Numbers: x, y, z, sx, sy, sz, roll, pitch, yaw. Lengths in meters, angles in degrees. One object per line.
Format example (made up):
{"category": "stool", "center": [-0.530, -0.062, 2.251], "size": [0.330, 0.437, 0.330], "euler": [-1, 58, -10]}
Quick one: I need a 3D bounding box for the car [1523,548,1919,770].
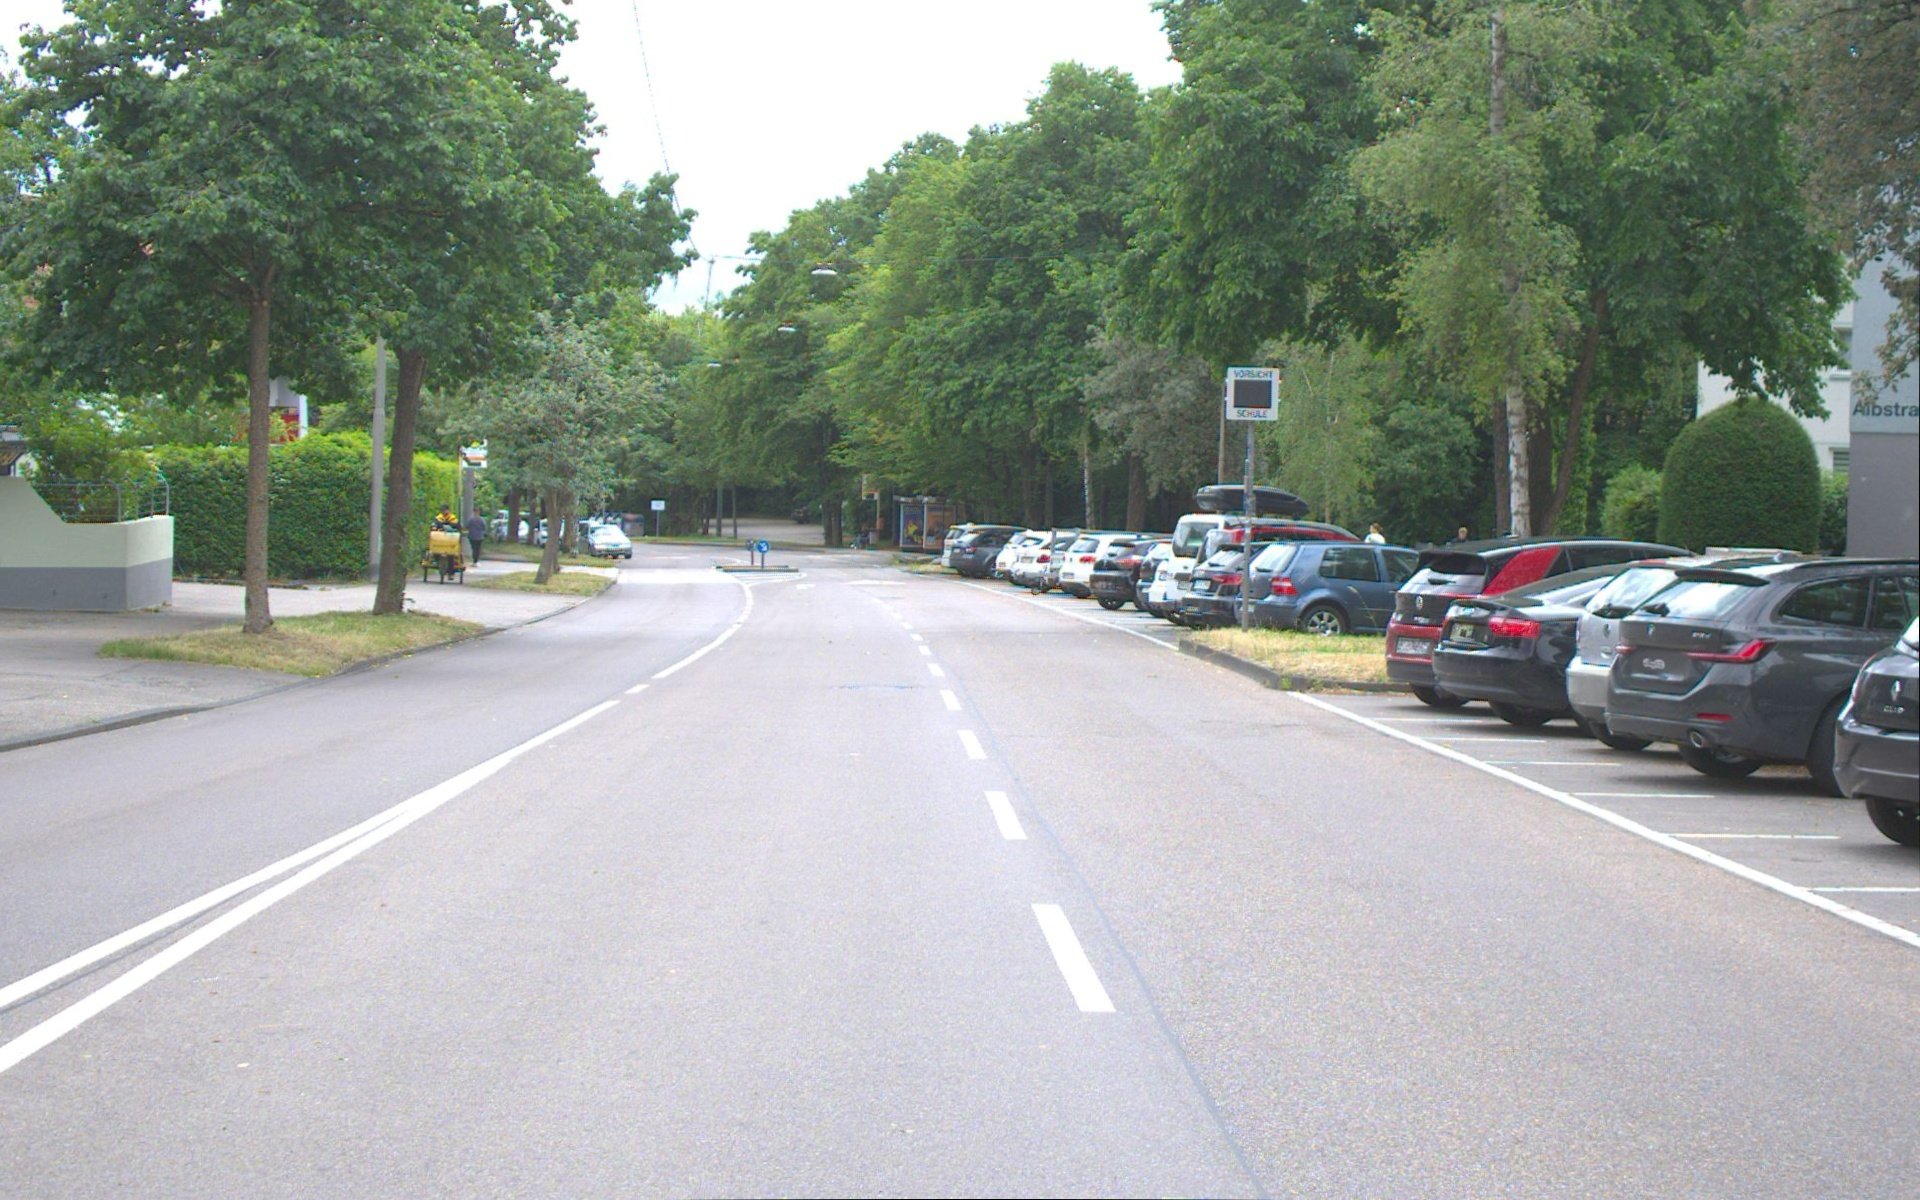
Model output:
{"category": "car", "center": [6.065, 0.423, 24.609], "size": [3.609, 1.440, 1.635], "euler": [2, 1, -16]}

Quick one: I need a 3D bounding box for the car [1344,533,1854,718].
{"category": "car", "center": [5.592, 0.220, 30.090], "size": [4.070, 1.510, 1.734], "euler": [1, 1, -23]}

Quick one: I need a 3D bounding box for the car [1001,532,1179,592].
{"category": "car", "center": [3.146, -0.908, 83.009], "size": [3.883, 1.305, 1.744], "euler": [1, 1, -25]}

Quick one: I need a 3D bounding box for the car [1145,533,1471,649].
{"category": "car", "center": [4.757, -0.127, 47.089], "size": [4.026, 1.400, 1.757], "euler": [2, 1, -19]}

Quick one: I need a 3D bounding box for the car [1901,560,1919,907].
{"category": "car", "center": [6.183, 0.647, 14.562], "size": [3.910, 1.481, 1.619], "euler": [2, 1, -16]}

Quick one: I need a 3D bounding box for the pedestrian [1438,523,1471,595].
{"category": "pedestrian", "center": [11.116, -0.924, 77.292], "size": [0.649, 1.598, 0.743], "euler": [1, 1, 4]}

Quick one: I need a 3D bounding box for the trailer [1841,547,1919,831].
{"category": "trailer", "center": [6.710, 0.535, 19.509], "size": [2.985, 1.537, 1.304], "euler": [2, 2, -14]}

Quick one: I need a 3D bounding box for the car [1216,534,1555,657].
{"category": "car", "center": [5.551, -0.063, 44.957], "size": [3.963, 1.400, 1.757], "euler": [2, 1, -16]}

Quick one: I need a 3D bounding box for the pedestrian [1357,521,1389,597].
{"category": "pedestrian", "center": [9.147, -0.903, 76.198], "size": [0.649, 1.665, 0.743], "euler": [1, 1, 4]}

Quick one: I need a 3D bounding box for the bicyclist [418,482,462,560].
{"category": "bicyclist", "center": [-11.460, -1.746, 75.822], "size": [0.844, 1.691, 0.714], "euler": [2, 2, -4]}

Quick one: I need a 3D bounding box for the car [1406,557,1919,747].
{"category": "car", "center": [5.894, 0.410, 27.177], "size": [4.311, 1.336, 1.734], "euler": [2, 1, -15]}

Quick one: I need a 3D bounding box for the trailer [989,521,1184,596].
{"category": "trailer", "center": [2.955, -0.967, 80.315], "size": [4.153, 1.568, 1.712], "euler": [2, 1, -20]}

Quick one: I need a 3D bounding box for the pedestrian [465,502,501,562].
{"category": "pedestrian", "center": [-13.691, -1.954, 98.656], "size": [0.974, 1.724, 0.849], "euler": [1, 1, -5]}

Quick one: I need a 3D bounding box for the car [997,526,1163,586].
{"category": "car", "center": [3.098, -1.143, 88.793], "size": [3.883, 1.424, 1.744], "euler": [1, 1, -21]}

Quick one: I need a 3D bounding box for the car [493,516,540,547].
{"category": "car", "center": [-22.096, -3.409, 171.151], "size": [1.866, 1.466, 4.001], "euler": [1, 1, -14]}

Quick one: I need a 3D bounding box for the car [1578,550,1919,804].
{"category": "car", "center": [6.261, 0.498, 21.617], "size": [4.343, 1.440, 1.635], "euler": [2, 2, -15]}

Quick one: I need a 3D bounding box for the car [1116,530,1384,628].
{"category": "car", "center": [4.801, -0.348, 57.093], "size": [3.965, 1.444, 1.919], "euler": [2, 1, -16]}

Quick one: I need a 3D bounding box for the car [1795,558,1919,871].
{"category": "car", "center": [6.317, 0.594, 17.072], "size": [3.839, 1.450, 1.635], "euler": [2, 1, -13]}

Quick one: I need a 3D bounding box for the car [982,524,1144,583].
{"category": "car", "center": [2.744, -1.241, 91.361], "size": [3.883, 1.424, 1.744], "euler": [1, 1, -21]}

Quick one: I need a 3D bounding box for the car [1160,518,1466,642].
{"category": "car", "center": [5.174, -0.299, 50.548], "size": [3.995, 1.614, 1.885], "euler": [2, 1, -17]}

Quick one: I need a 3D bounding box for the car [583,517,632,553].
{"category": "car", "center": [-14.676, -2.707, 143.040], "size": [1.866, 1.466, 4.001], "euler": [1, 1, -8]}

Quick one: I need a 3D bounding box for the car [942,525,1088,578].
{"category": "car", "center": [1.609, -1.434, 101.341], "size": [3.883, 1.424, 1.744], "euler": [1, 1, -21]}

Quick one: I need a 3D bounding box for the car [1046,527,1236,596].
{"category": "car", "center": [4.109, -0.874, 78.160], "size": [3.883, 1.444, 1.744], "euler": [1, 1, -22]}

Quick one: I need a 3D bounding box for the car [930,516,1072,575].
{"category": "car", "center": [1.242, -1.648, 104.120], "size": [3.883, 1.662, 1.744], "euler": [1, 1, -21]}

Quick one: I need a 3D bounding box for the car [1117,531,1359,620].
{"category": "car", "center": [5.009, -0.441, 62.036], "size": [3.883, 1.444, 1.845], "euler": [2, 1, -21]}

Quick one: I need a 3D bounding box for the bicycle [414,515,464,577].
{"category": "bicycle", "center": [-11.471, -1.201, 75.721], "size": [0.844, 1.262, 2.652], "euler": [2, 2, -4]}

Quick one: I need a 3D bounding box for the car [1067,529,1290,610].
{"category": "car", "center": [4.249, -0.593, 66.959], "size": [3.883, 1.444, 1.845], "euler": [1, 1, -25]}

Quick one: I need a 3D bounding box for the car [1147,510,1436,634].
{"category": "car", "center": [5.155, -0.427, 53.436], "size": [4.085, 1.748, 1.787], "euler": [2, 1, -28]}
